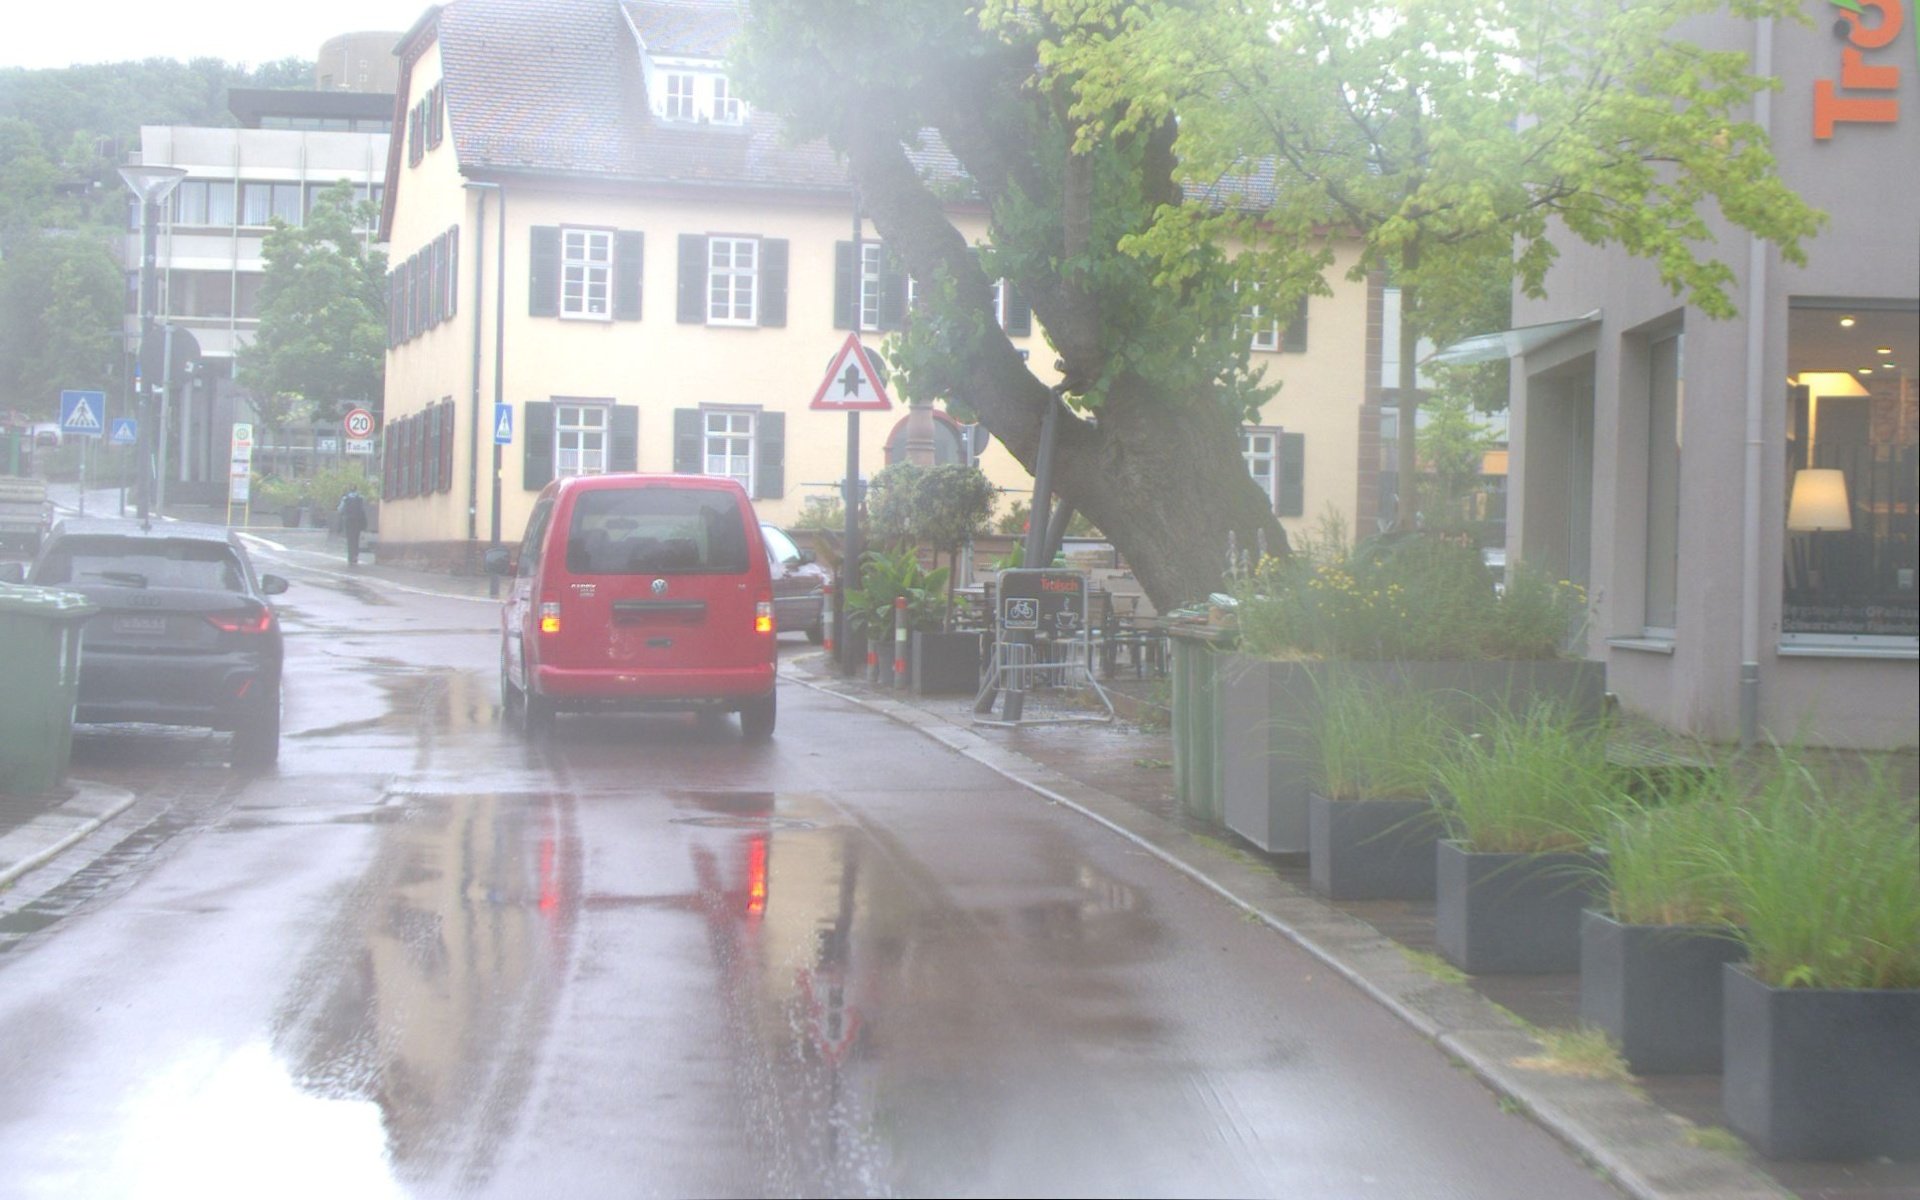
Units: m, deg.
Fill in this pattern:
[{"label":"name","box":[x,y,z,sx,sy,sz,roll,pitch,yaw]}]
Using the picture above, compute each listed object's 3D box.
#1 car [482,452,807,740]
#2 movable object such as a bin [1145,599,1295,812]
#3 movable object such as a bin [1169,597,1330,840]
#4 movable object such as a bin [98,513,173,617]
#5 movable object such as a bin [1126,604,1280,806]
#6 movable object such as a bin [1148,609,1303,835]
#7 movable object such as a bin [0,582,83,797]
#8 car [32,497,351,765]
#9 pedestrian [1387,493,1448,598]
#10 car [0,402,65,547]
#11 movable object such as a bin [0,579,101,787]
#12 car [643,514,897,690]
[{"label":"car","box":[-2.366,-0.102,24.831,1.893,1.805,4.002,3,2,-10]},{"label":"movable object such as a bin","box":[1.389,0.558,18.441,0.677,1.099,0.579,3,0,-4]},{"label":"movable object such as a bin","box":[1.413,0.572,16.846,0.631,1.146,0.580,3,0,-7]},{"label":"movable object such as a bin","box":[-9.044,-0.379,37.717,0.714,1.102,0.600,3,0,-10]},{"label":"movable object such as a bin","box":[1.341,0.571,19.073,0.721,1.069,0.649,3,0,-4]},{"label":"movable object such as a bin","box":[1.339,0.609,17.433,0.631,1.100,0.580,3,0,-7]},{"label":"movable object such as a bin","box":[-5.099,0.461,18.279,0.725,1.106,0.597,3,0,-7]},{"label":"car","box":[-5.020,0.135,22.448,1.787,1.490,4.002,3,2,-13]},{"label":"pedestrian","box":[8.223,-0.967,61.857,0.898,1.836,0.766,3,0,-1]},{"label":"car","box":[-18.833,-2.392,66.463,2.299,2.593,6.960,3,0,-19]},{"label":"movable object such as a bin","box":[-5.166,0.446,18.930,0.725,1.106,0.645,3,0,-7]},{"label":"car","box":[-2.076,0.039,38.815,1.994,1.793,3.998,3,0,9]}]
